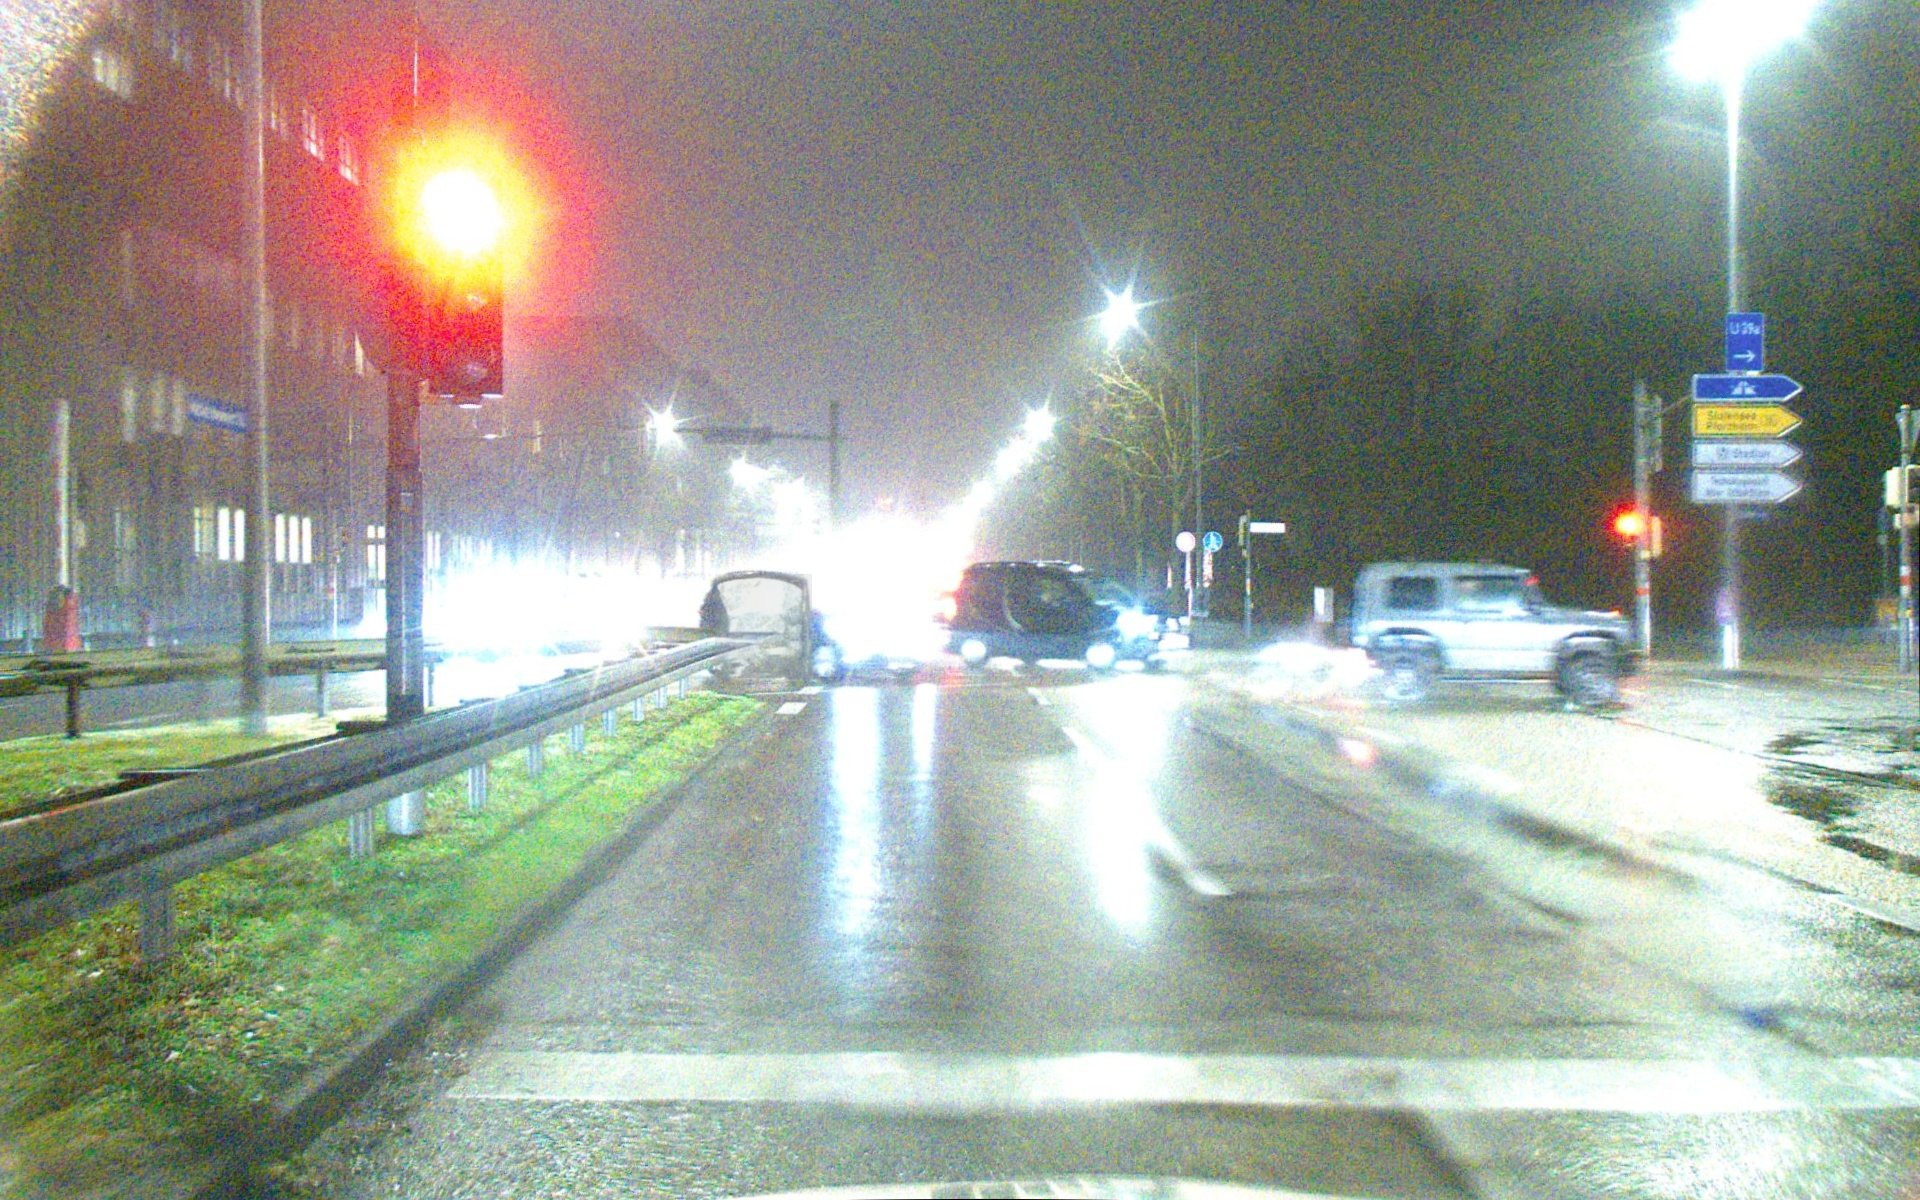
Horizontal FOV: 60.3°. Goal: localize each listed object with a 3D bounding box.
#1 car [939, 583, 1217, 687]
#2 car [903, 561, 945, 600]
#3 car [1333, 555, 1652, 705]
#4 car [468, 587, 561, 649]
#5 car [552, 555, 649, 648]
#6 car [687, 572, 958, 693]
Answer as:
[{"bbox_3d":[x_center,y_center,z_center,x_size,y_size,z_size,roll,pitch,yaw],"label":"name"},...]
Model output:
[{"bbox_3d":[1.981,0.563,28.308,4.422,1.646,1.901,0,-1,35],"label":"car"},{"bbox_3d":[-2.258,-1.171,101.730,2.393,2.232,5.075,0,0,-4],"label":"car"},{"bbox_3d":[6.602,0.351,20.830,3.672,1.764,1.724,0,-1,14],"label":"car"},{"bbox_3d":[-11.615,0.470,43.292,1.665,1.543,3.565,0,0,-4],"label":"car"},{"bbox_3d":[-8.276,0.042,38.352,1.665,2.049,3.565,0,0,-4],"label":"car"},{"bbox_3d":[-2.192,0.464,25.500,1.942,1.702,4.348,1,-1,-42],"label":"car"}]
